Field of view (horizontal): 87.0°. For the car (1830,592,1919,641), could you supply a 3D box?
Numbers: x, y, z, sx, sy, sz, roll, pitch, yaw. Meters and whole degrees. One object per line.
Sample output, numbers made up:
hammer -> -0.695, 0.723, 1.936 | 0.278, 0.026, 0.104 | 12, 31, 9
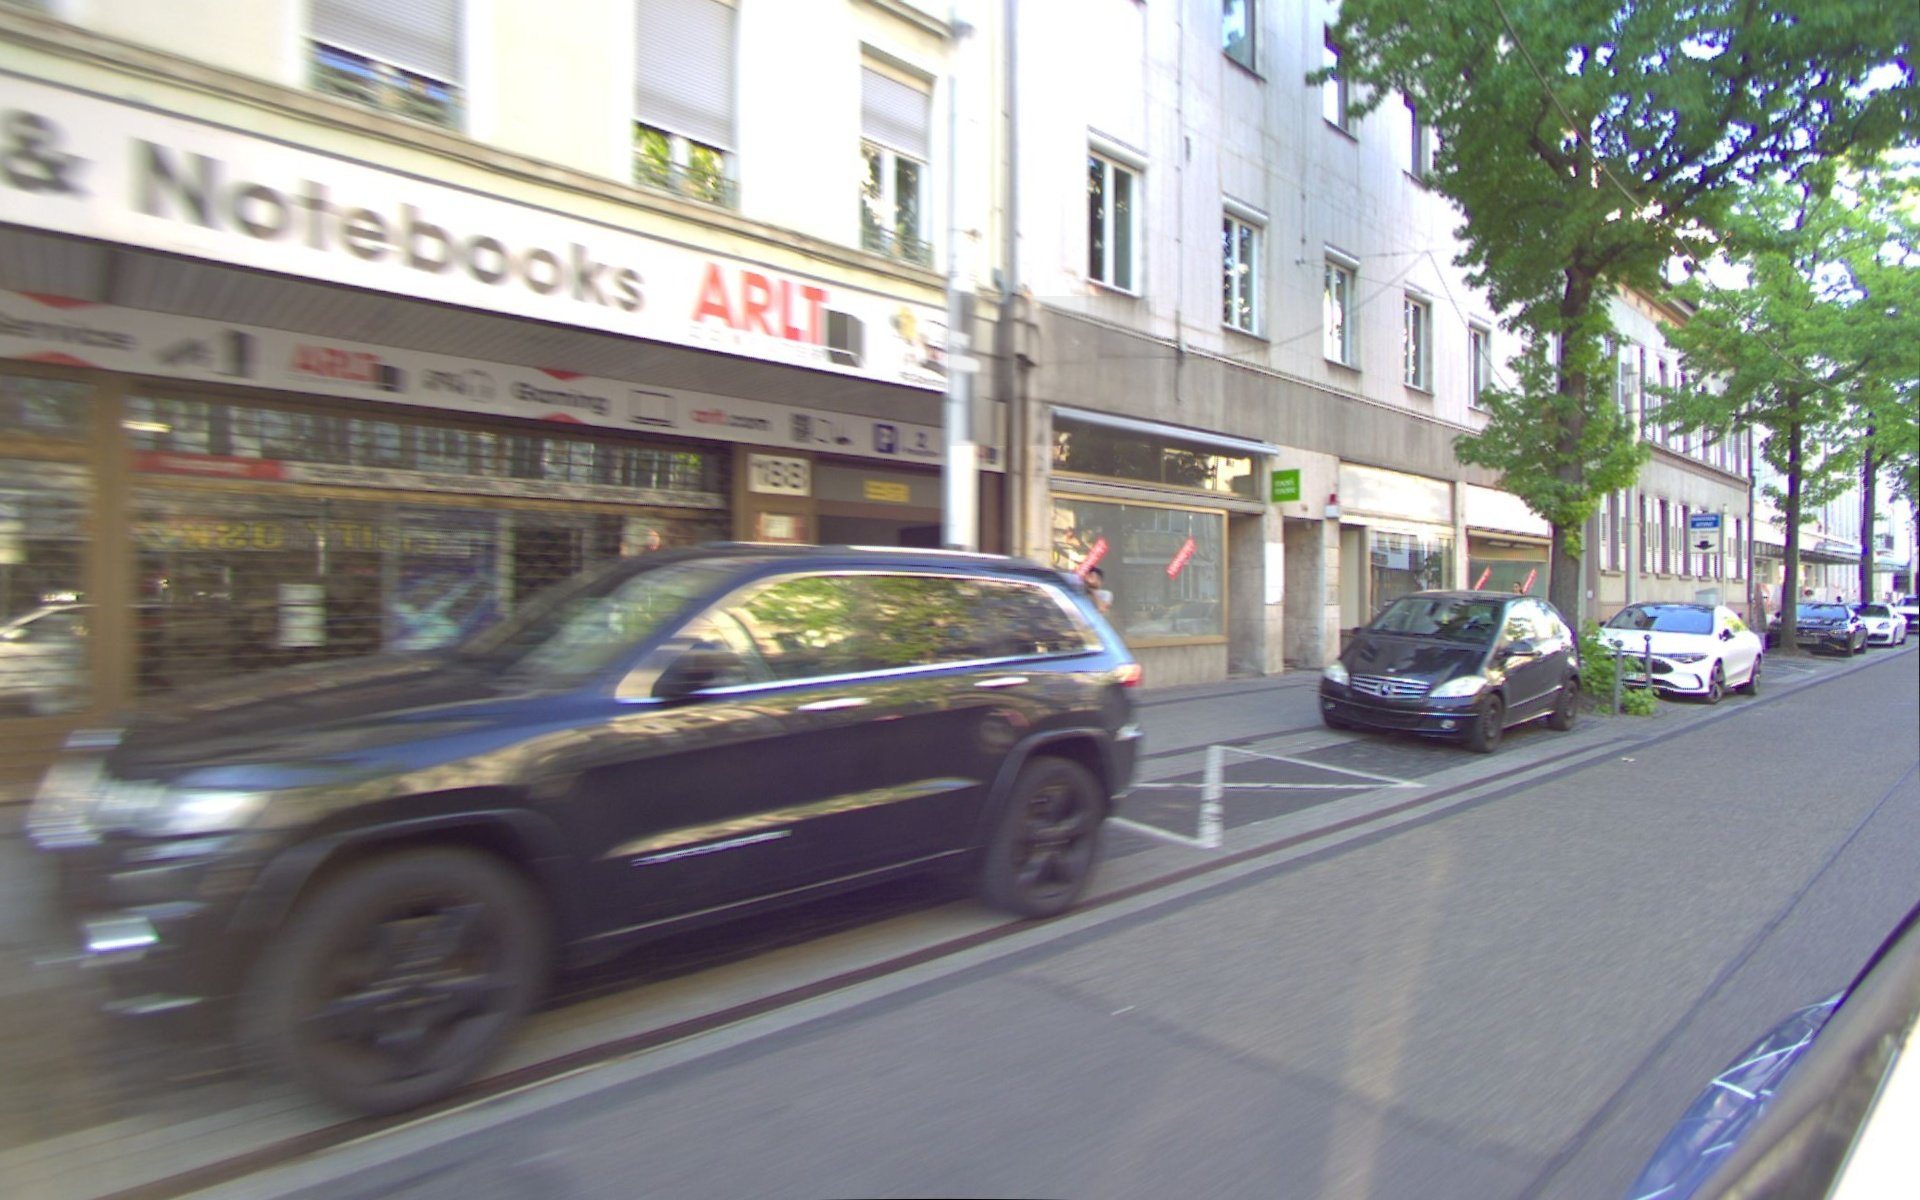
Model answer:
car -> 30.562, 0.506, 33.579 | 4.803, 1.438, 1.916 | 0, 3, -42

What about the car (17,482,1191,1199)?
car -> -1.140, 0.544, 4.644 | 4.599, 1.780, 1.942 | 0, 4, -42

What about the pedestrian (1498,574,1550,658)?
pedestrian -> 11.796, 0.324, 21.166 | 0.873, 1.685, 0.659 | 0, 2, -43

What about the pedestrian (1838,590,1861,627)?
pedestrian -> 38.322, 0.354, 43.616 | 0.785, 1.593, 0.650 | 0, 0, -42

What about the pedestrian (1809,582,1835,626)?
pedestrian -> 38.171, 0.177, 44.822 | 1.035, 1.910, 0.714 | 0, 1, -42

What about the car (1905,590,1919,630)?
car -> 43.918, 0.460, 45.412 | 1.999, 1.708, 4.887 | 3, 3, 45

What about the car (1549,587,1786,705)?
car -> 11.376, 0.632, 16.147 | 4.598, 1.516, 1.998 | 0, 3, -41

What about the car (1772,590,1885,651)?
car -> 24.297, 0.516, 28.264 | 4.681, 1.496, 1.835 | 0, 2, -43

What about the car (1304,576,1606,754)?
car -> 5.762, 0.602, 11.593 | 3.825, 1.610, 1.779 | 0, 4, -43

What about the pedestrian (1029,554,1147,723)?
pedestrian -> 1.435, 0.392, 11.360 | 0.916, 1.774, 0.860 | 0, 3, -42
